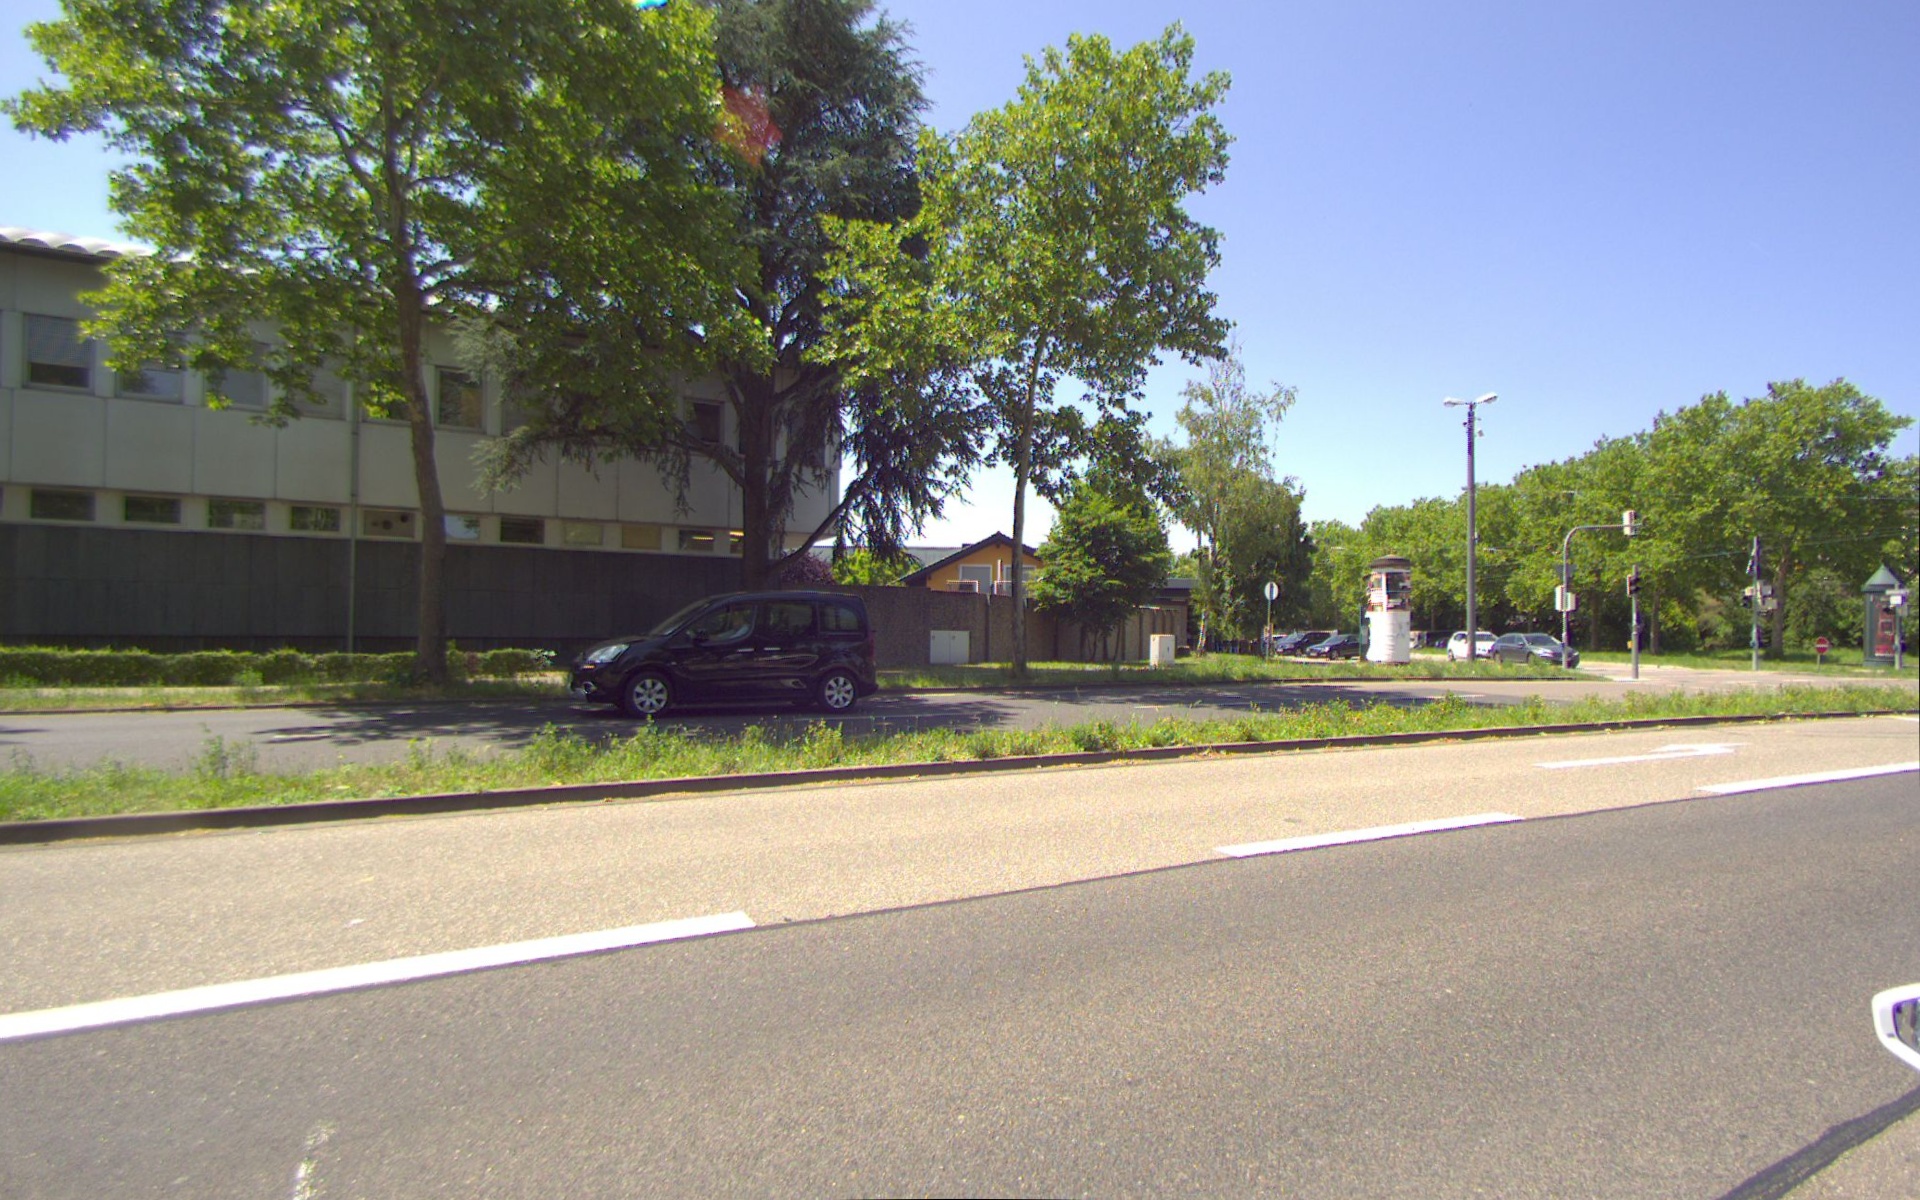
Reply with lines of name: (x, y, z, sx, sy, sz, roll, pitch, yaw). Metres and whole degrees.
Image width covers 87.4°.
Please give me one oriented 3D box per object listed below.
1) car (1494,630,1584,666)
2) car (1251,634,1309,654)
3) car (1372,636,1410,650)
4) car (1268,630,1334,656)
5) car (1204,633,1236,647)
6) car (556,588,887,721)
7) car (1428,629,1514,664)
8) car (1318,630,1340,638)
car: (24.825, 2.026, 43.238, 1.729, 1.476, 3.994, 1, -1, 2)
car: (24.245, 3.356, 76.092, 4.004, 1.442, 1.936, 1, -2, -24)
car: (45.833, 4.566, 106.880, 3.481, 1.415, 1.500, 1, -1, -2)
car: (22.672, 2.879, 66.764, 4.138, 1.672, 1.773, 1, -2, -26)
car: (23.109, 3.552, 89.344, 2.848, 1.221, 1.176, 1, -1, -35)
car: (-3.465, 0.756, 14.731, 4.388, 1.701, 1.904, 1, -1, -28)
car: (25.526, 2.292, 50.363, 2.172, 1.626, 4.463, 1, -1, 2)
car: (49.689, 4.576, 135.257, 2.667, 1.007, 1.009, 1, -1, -1)
